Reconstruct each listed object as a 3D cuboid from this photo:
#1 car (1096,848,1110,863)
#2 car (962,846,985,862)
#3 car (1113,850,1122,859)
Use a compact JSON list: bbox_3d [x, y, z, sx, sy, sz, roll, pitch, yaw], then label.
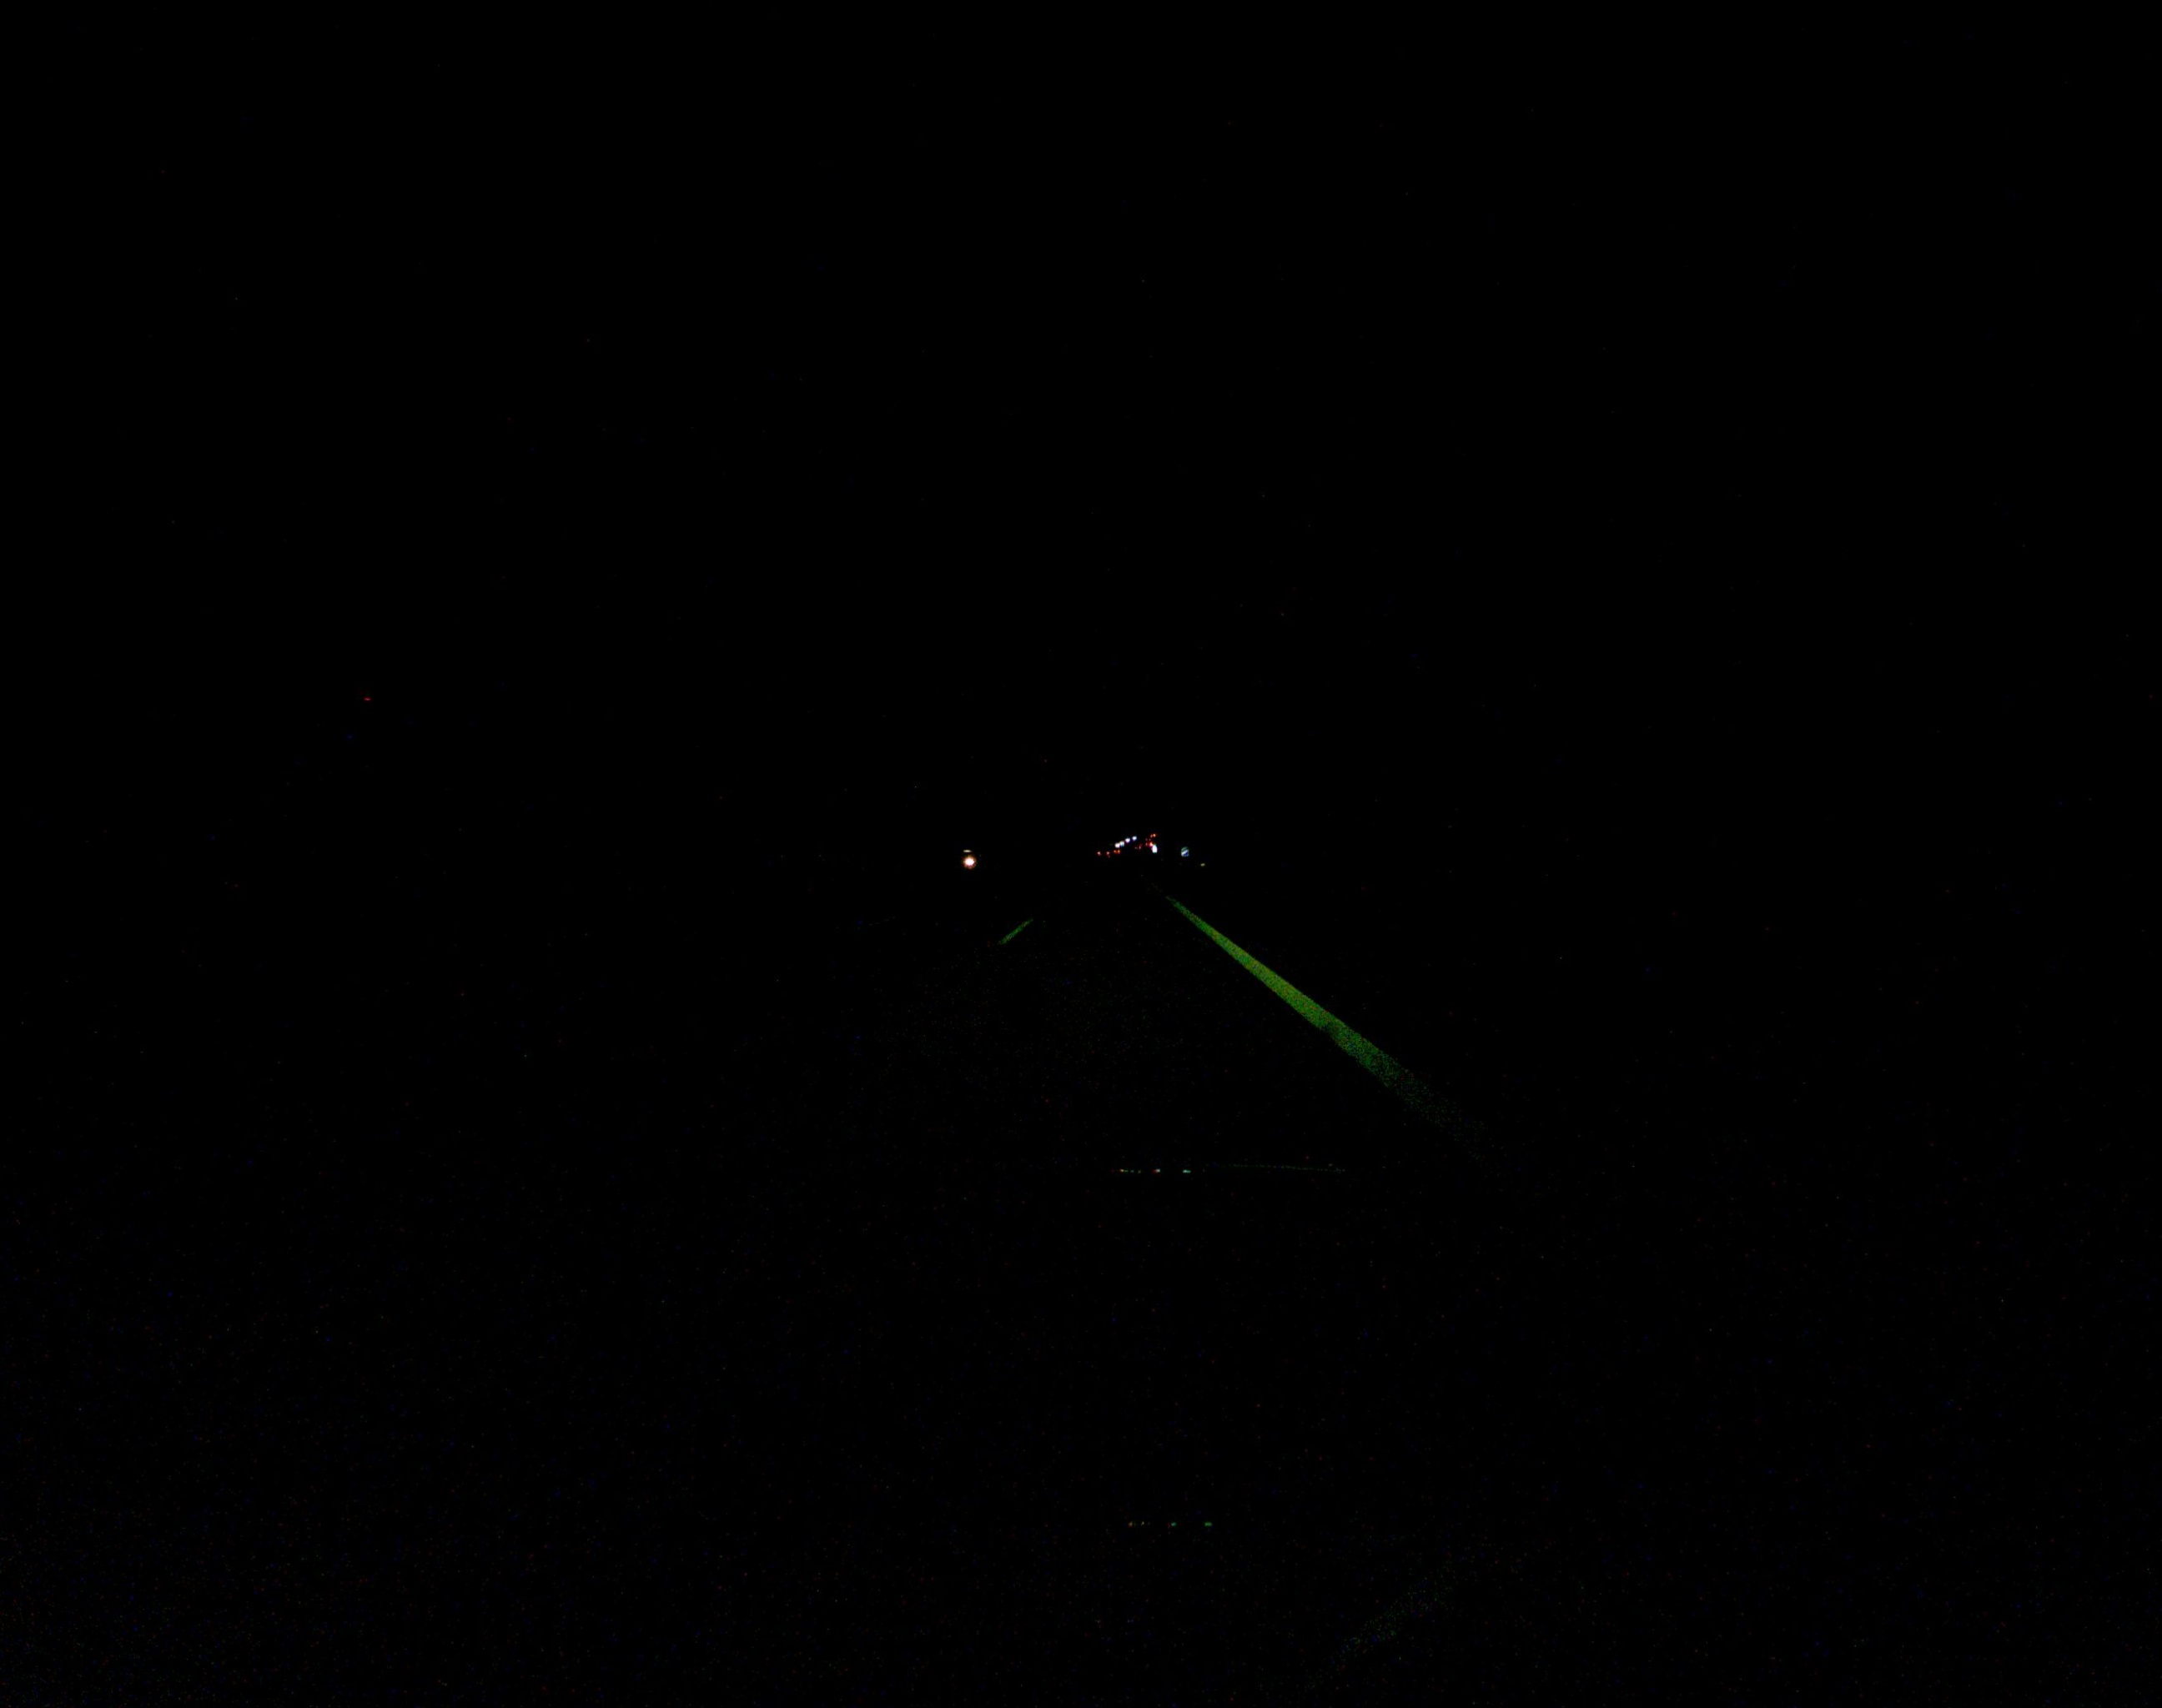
[{"bbox_3d":[4.371,0.329,161.888,2.776,2.733,6.301,-1,0,1],"label":"car"},{"bbox_3d":[-16.557,0.051,125.609,2.381,2.452,6.675,0,-1,3],"label":"car"},{"bbox_3d":[11.675,0.278,263.036,2.775,2.733,6.303,-1,0,3],"label":"car"}]
